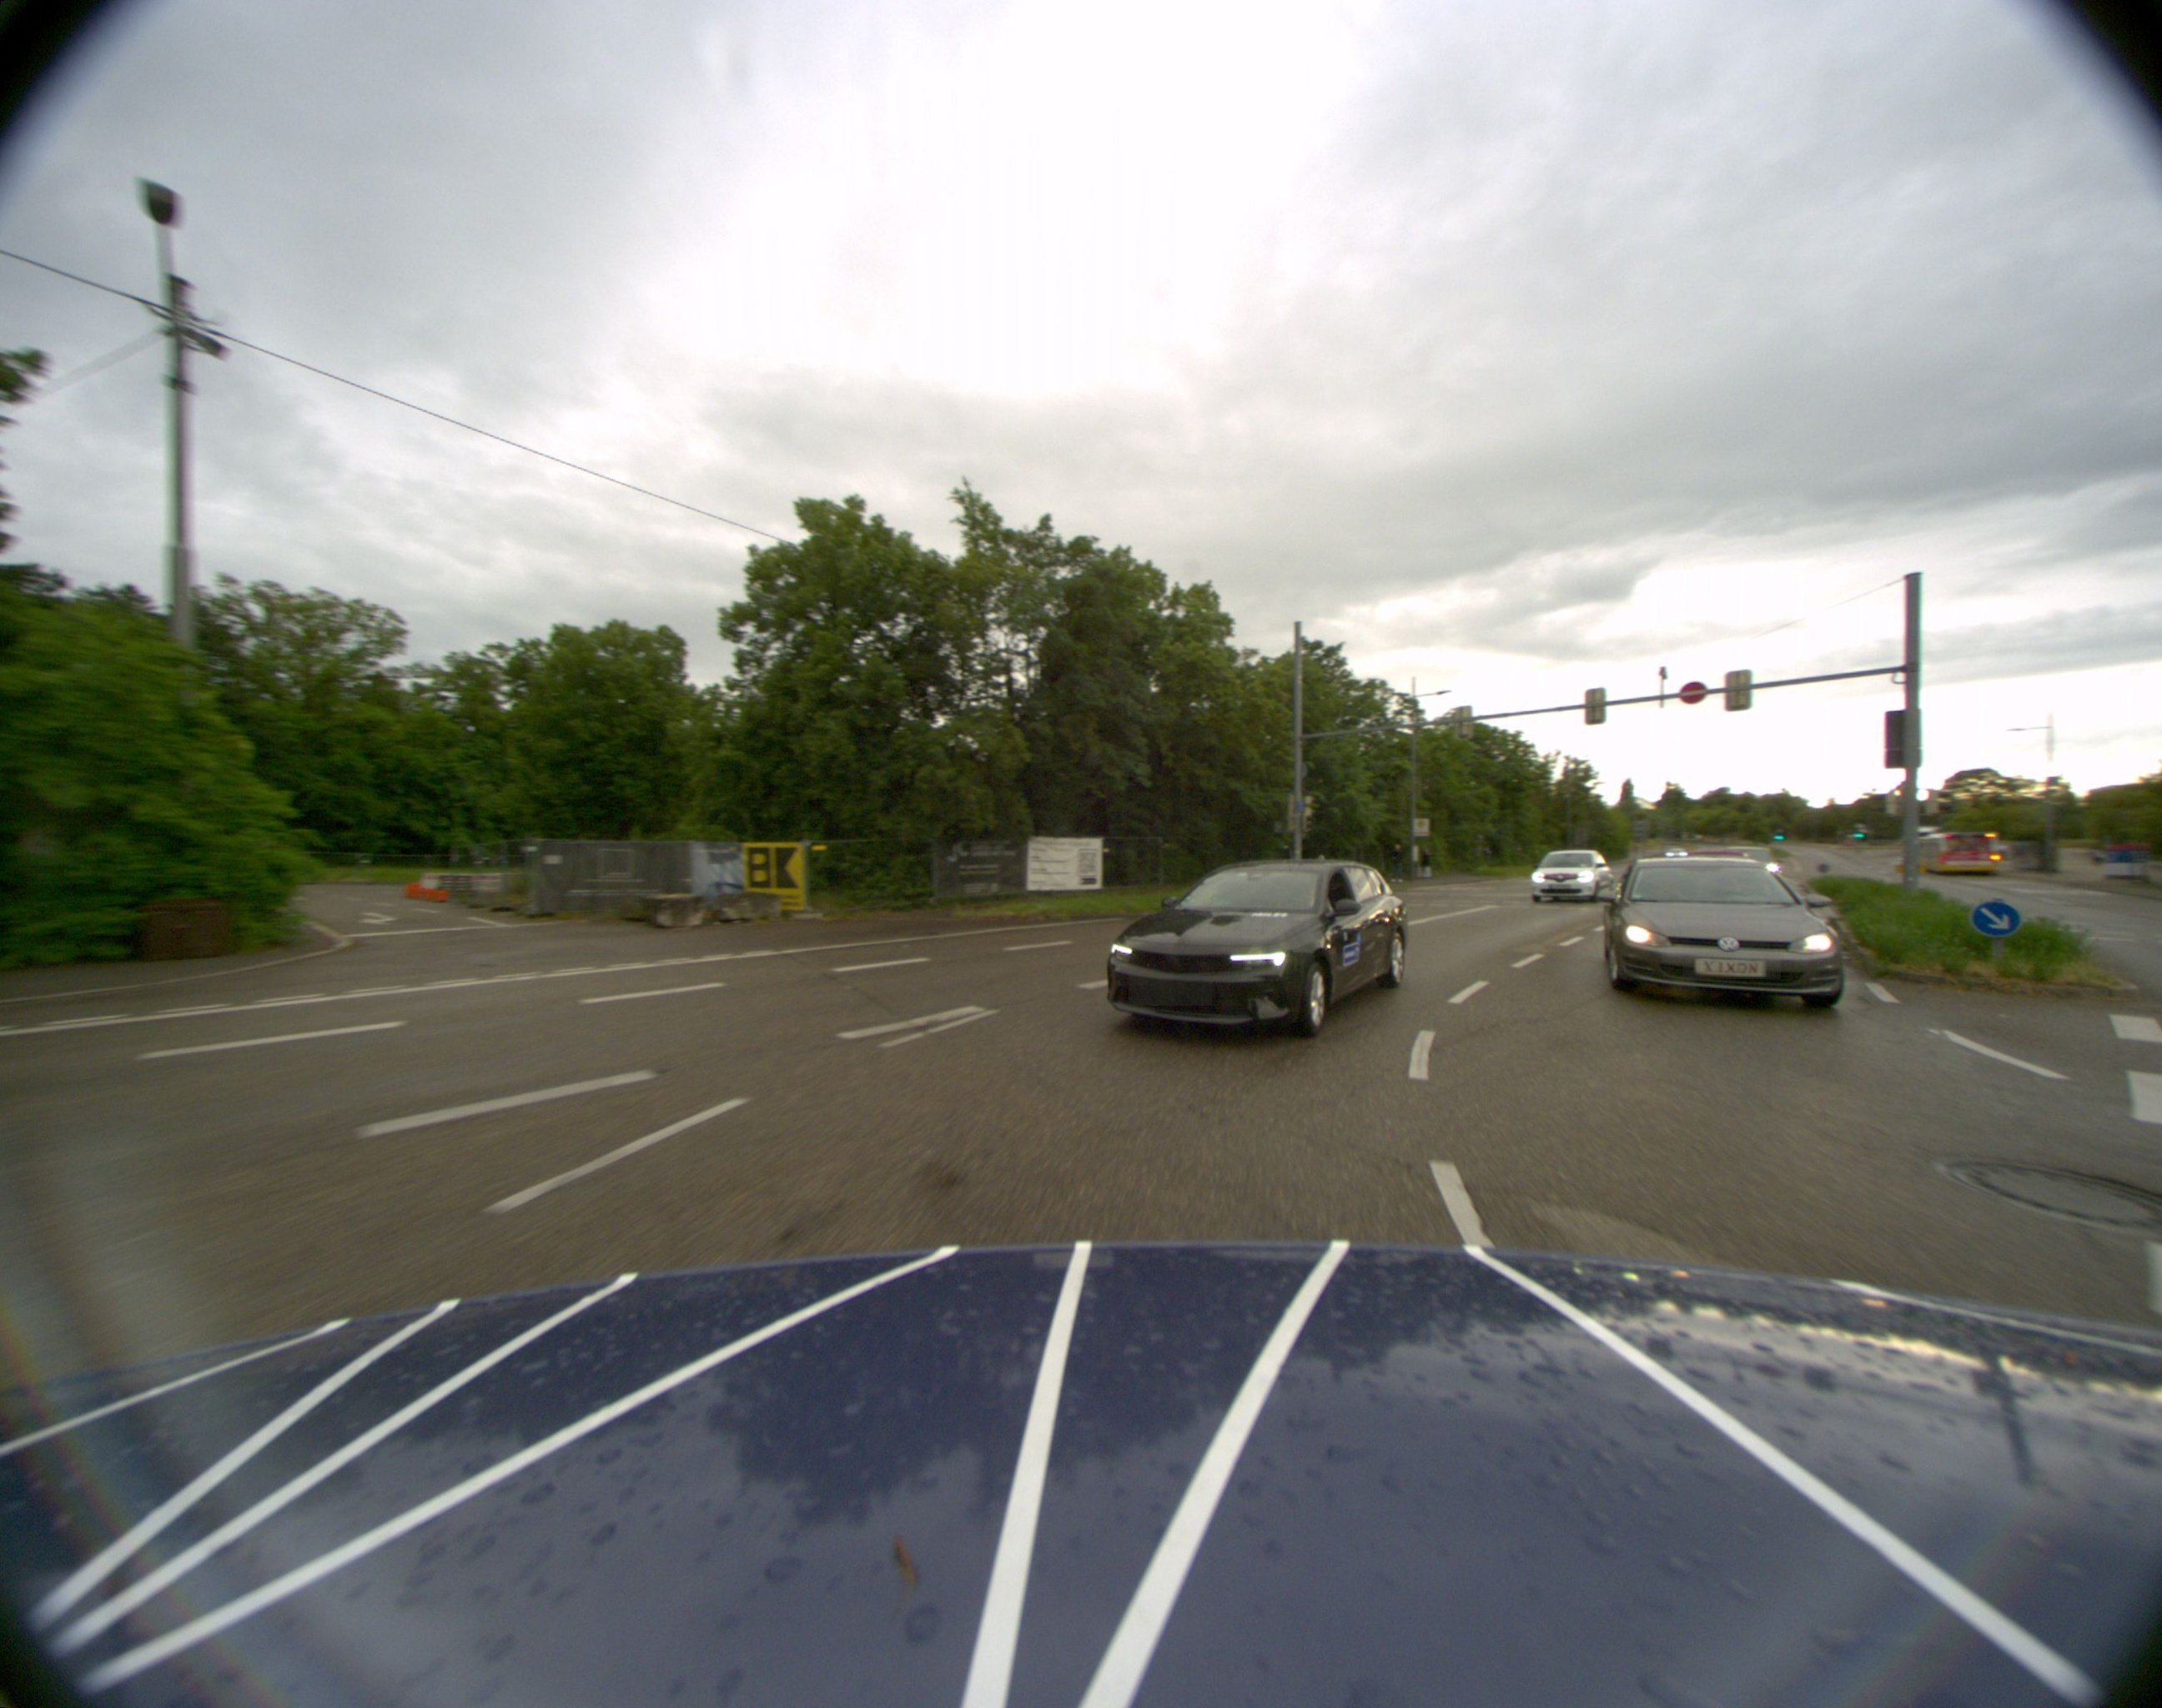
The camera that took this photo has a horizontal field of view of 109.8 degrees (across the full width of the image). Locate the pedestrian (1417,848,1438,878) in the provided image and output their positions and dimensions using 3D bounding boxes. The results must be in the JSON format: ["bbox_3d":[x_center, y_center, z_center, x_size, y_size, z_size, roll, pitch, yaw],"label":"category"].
[{"bbox_3d":[19.703,0.518,43.223,0.820,1.666,0.833,1,1,44],"label":"pedestrian"}]

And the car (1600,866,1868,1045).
[{"bbox_3d":[7.137,0.907,8.707,1.900,1.431,4.008,0,1,35],"label":"car"}]

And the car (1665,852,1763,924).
[{"bbox_3d":[15.318,0.730,18.407,1.666,1.521,3.665,0,1,40],"label":"car"}]

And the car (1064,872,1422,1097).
[{"bbox_3d":[1.949,0.985,7.715,1.800,1.422,4.529,-1,0,37],"label":"car"}]

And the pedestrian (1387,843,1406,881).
[{"bbox_3d":[16.129,0.402,38.842,0.675,1.873,0.701,1,1,44],"label":"pedestrian"}]

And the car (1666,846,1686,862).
[{"bbox_3d":[79.407,-0.025,101.415,1.994,2.002,4.009,1,1,38],"label":"car"}]

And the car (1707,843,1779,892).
[{"bbox_3d":[25.361,0.461,29.076,1.901,1.761,4.008,0,1,43],"label":"car"}]

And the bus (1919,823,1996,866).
[{"bbox_3d":[65.348,-0.759,56.864,2.873,2.972,10.026,1,1,44],"label":"bus"}]

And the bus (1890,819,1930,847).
[{"bbox_3d":[107.052,-2.604,98.252,2.809,3.495,9.162,1,1,43],"label":"bus"}]

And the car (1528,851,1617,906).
[{"bbox_3d":[15.065,0.683,23.218,1.641,1.512,3.587,0,1,43],"label":"car"}]

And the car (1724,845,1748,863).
[{"bbox_3d":[72.158,-0.005,83.728,1.994,2.002,4.008,-1,0,41],"label":"car"}]
